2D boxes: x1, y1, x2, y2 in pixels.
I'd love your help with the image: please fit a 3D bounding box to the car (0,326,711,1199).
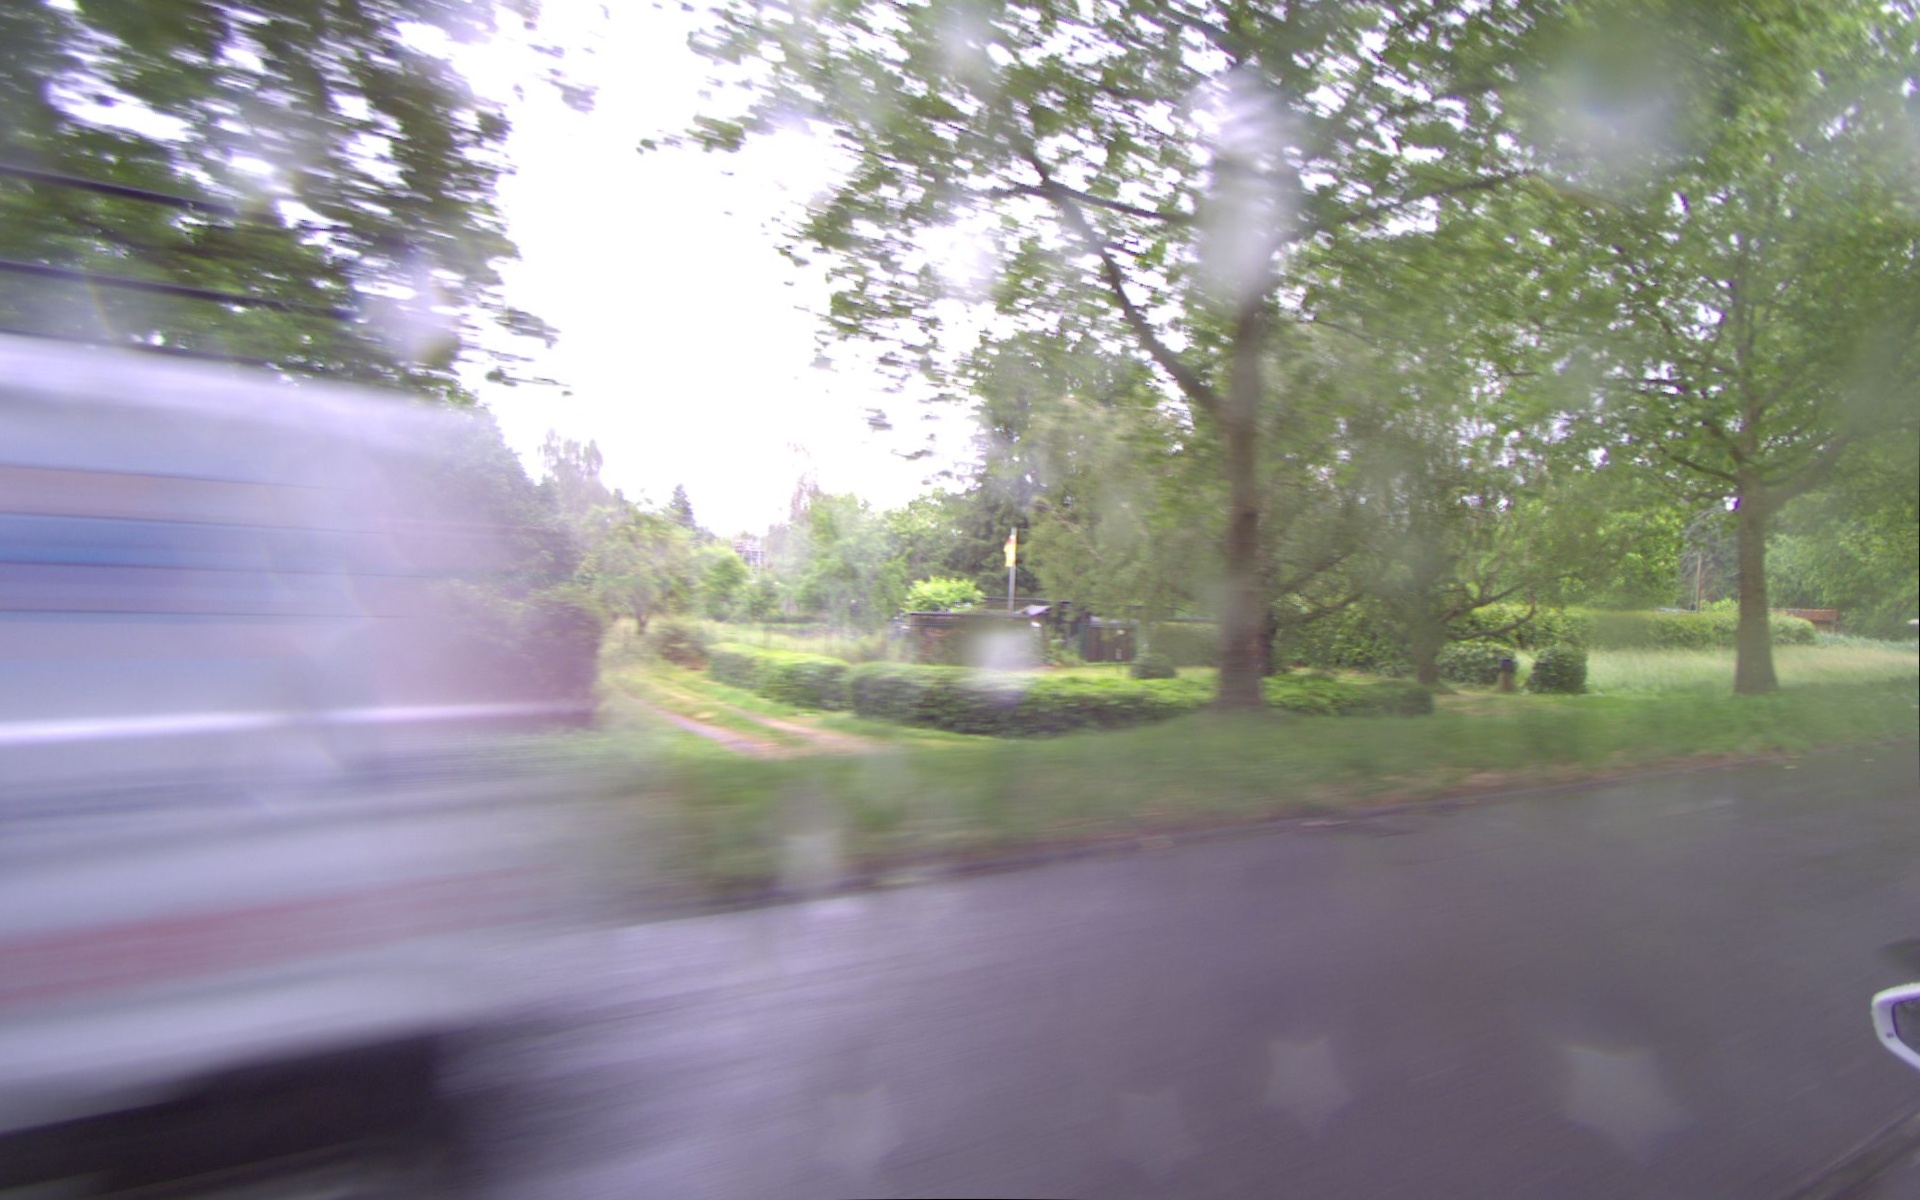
[{"bbox_3d":[-3.067,0.487,1.419,4.958,1.773,1.853,1,-1,-31],"label":"car"}]
